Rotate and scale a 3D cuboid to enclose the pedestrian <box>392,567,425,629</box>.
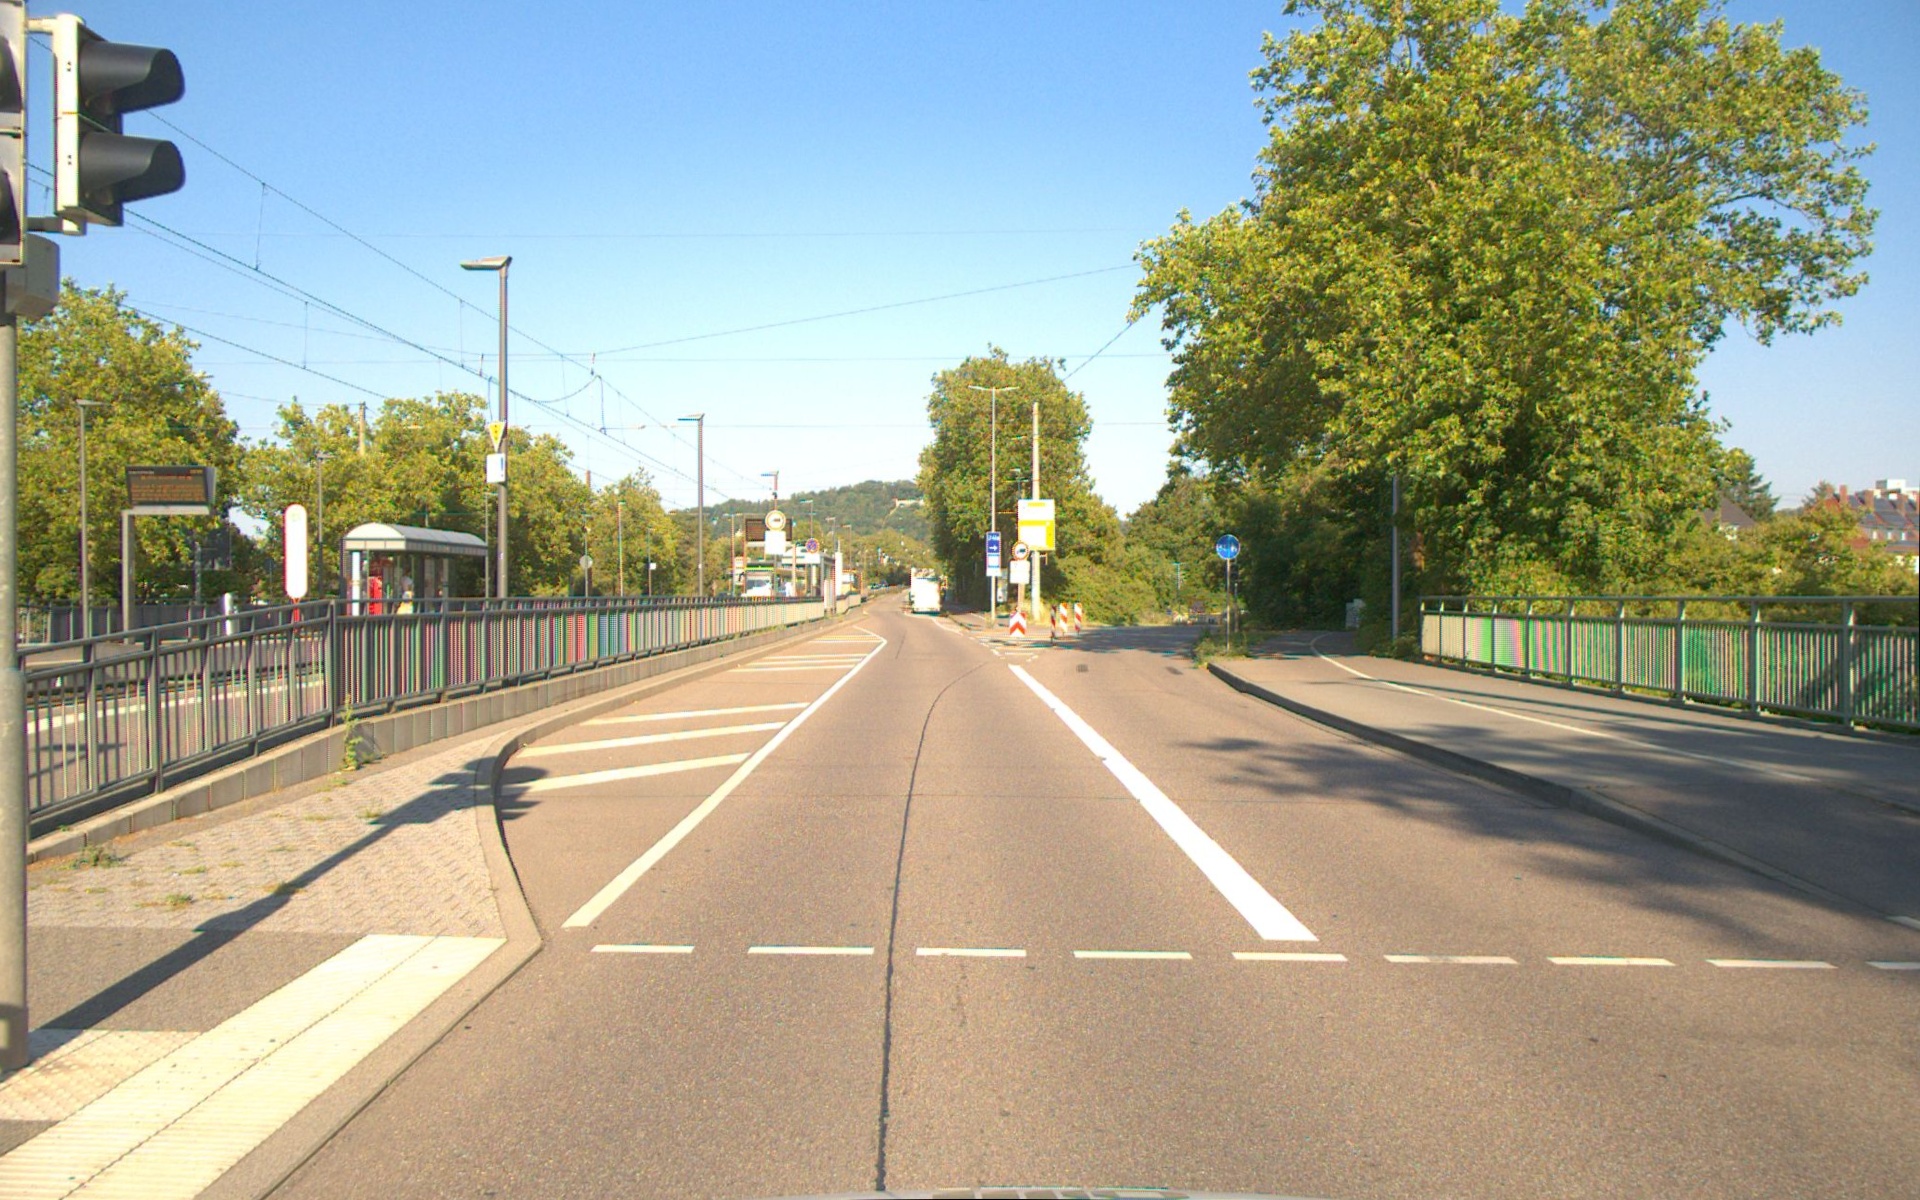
[{"bbox_3d":[-16.038,-0.051,48.096,0.687,1.787,0.586,0,0,35],"label":"pedestrian"}]

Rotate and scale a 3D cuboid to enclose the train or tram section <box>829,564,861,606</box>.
[{"bbox_3d":[-12.155,-1.606,175.188,2.666,4.162,13.612,-1,0,-1],"label":"train or tram section"}]

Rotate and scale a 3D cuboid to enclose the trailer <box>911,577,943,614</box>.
[{"bbox_3d":[-2.499,-0.351,127.655,2.204,2.742,5.948,0,0,1],"label":"trailer"}]

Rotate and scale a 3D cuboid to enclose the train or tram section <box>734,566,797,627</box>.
[{"bbox_3d":[-13.921,-0.261,119.625,2.770,4.076,15.872,1,0,-1],"label":"train or tram section"}]

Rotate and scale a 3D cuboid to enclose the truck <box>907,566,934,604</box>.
[{"bbox_3d":[-4.241,-1.594,175.445,2.687,3.849,10.085,2,0,-2],"label":"truck"}]

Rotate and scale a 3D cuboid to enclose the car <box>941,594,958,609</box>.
[{"bbox_3d":[-1.067,0.142,168.188,1.619,1.462,3.777,0,0,0],"label":"car"}]
